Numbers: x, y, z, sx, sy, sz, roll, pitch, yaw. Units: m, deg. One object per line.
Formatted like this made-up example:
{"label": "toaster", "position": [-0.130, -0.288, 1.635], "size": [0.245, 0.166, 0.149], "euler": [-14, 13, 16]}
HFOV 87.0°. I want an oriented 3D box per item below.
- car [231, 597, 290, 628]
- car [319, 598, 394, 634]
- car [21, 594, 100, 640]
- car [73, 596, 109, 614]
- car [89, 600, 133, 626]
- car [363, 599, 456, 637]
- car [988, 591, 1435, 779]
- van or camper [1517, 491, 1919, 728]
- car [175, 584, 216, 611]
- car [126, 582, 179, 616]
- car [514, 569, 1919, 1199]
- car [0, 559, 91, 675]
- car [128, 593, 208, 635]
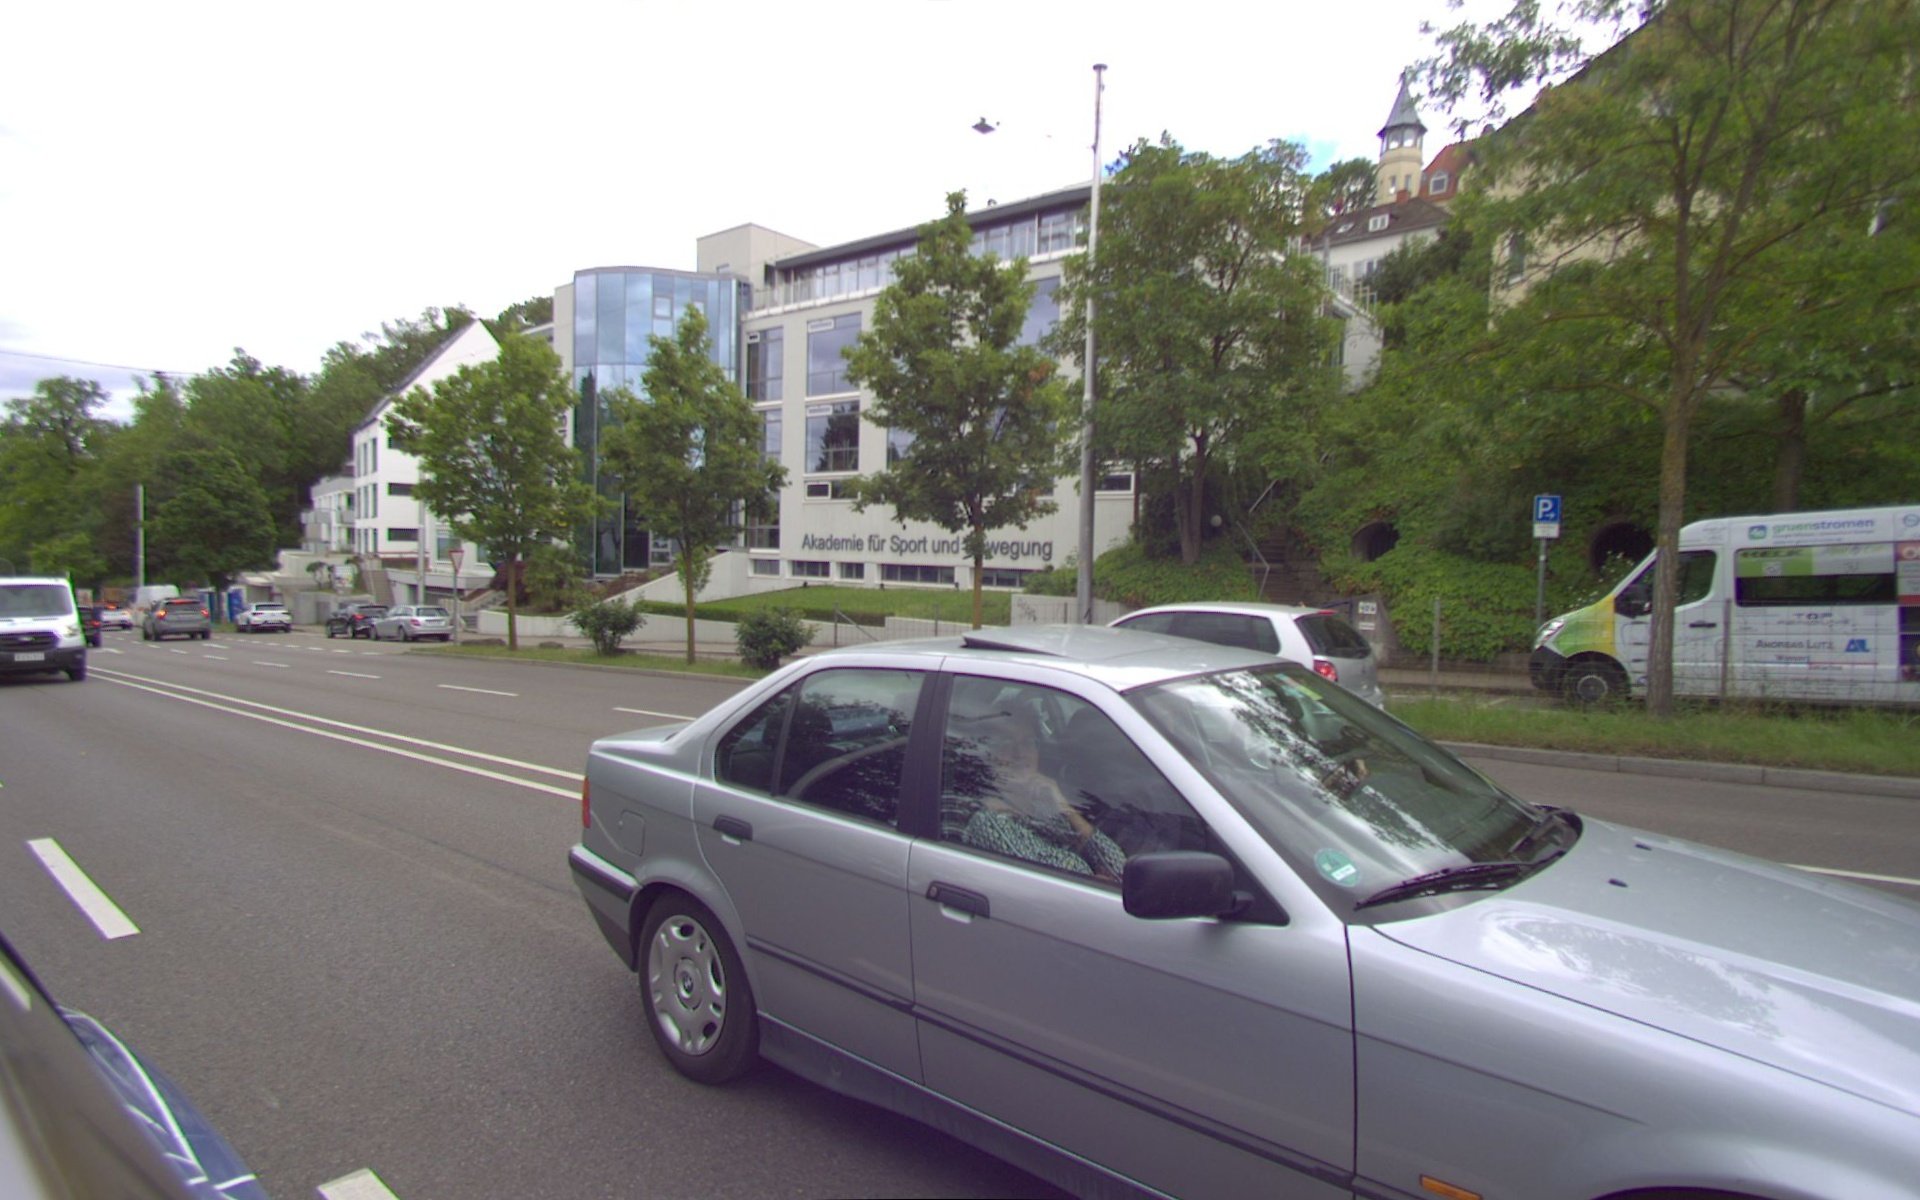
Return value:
{"label": "car", "position": [-35.502, 0.616, 51.315], "size": [4.239, 1.515, 1.650], "euler": [0, 0, 44]}
{"label": "car", "position": [-25.977, 0.658, 43.491], "size": [4.089, 1.439, 1.655], "euler": [0, 0, 42]}
{"label": "car", "position": [-33.943, 0.606, 38.164], "size": [4.365, 1.604, 1.745], "euler": [0, 1, 42]}
{"label": "car", "position": [-71.719, 0.398, 83.527], "size": [3.289, 1.453, 1.564], "euler": [0, 1, 37]}
{"label": "car", "position": [-52.367, 0.775, 62.395], "size": [1.779, 1.553, 3.925], "euler": [-1, 1, -44]}
{"label": "car", "position": [-21.791, 0.704, 39.992], "size": [4.414, 1.439, 1.656], "euler": [0, -2, 40]}
{"label": "car", "position": [2.283, 0.674, 9.726], "size": [3.886, 1.442, 1.550], "euler": [-1, 1, 39]}
{"label": "van or camper", "position": [10.065, 0.097, 12.060], "size": [5.711, 2.491, 1.971], "euler": [0, 0, 43]}
{"label": "car", "position": [-53.840, -0.174, 71.245], "size": [1.785, 1.764, 4.254], "euler": [-3, 2, -44]}
{"label": "car", "position": [-64.922, -0.078, 81.306], "size": [6.527, 2.545, 1.974], "euler": [0, 2, 40]}
{"label": "car", "position": [0.652, 0.647, 2.757], "size": [4.618, 1.393, 1.617], "euler": [0, 1, 41]}
{"label": "car", "position": [-20.366, 0.359, 21.450], "size": [6.263, 2.190, 1.973], "euler": [-1, 0, 40]}
{"label": "car", "position": [-34.432, 0.592, 43.932], "size": [4.866, 1.721, 1.746], "euler": [0, 1, 40]}
